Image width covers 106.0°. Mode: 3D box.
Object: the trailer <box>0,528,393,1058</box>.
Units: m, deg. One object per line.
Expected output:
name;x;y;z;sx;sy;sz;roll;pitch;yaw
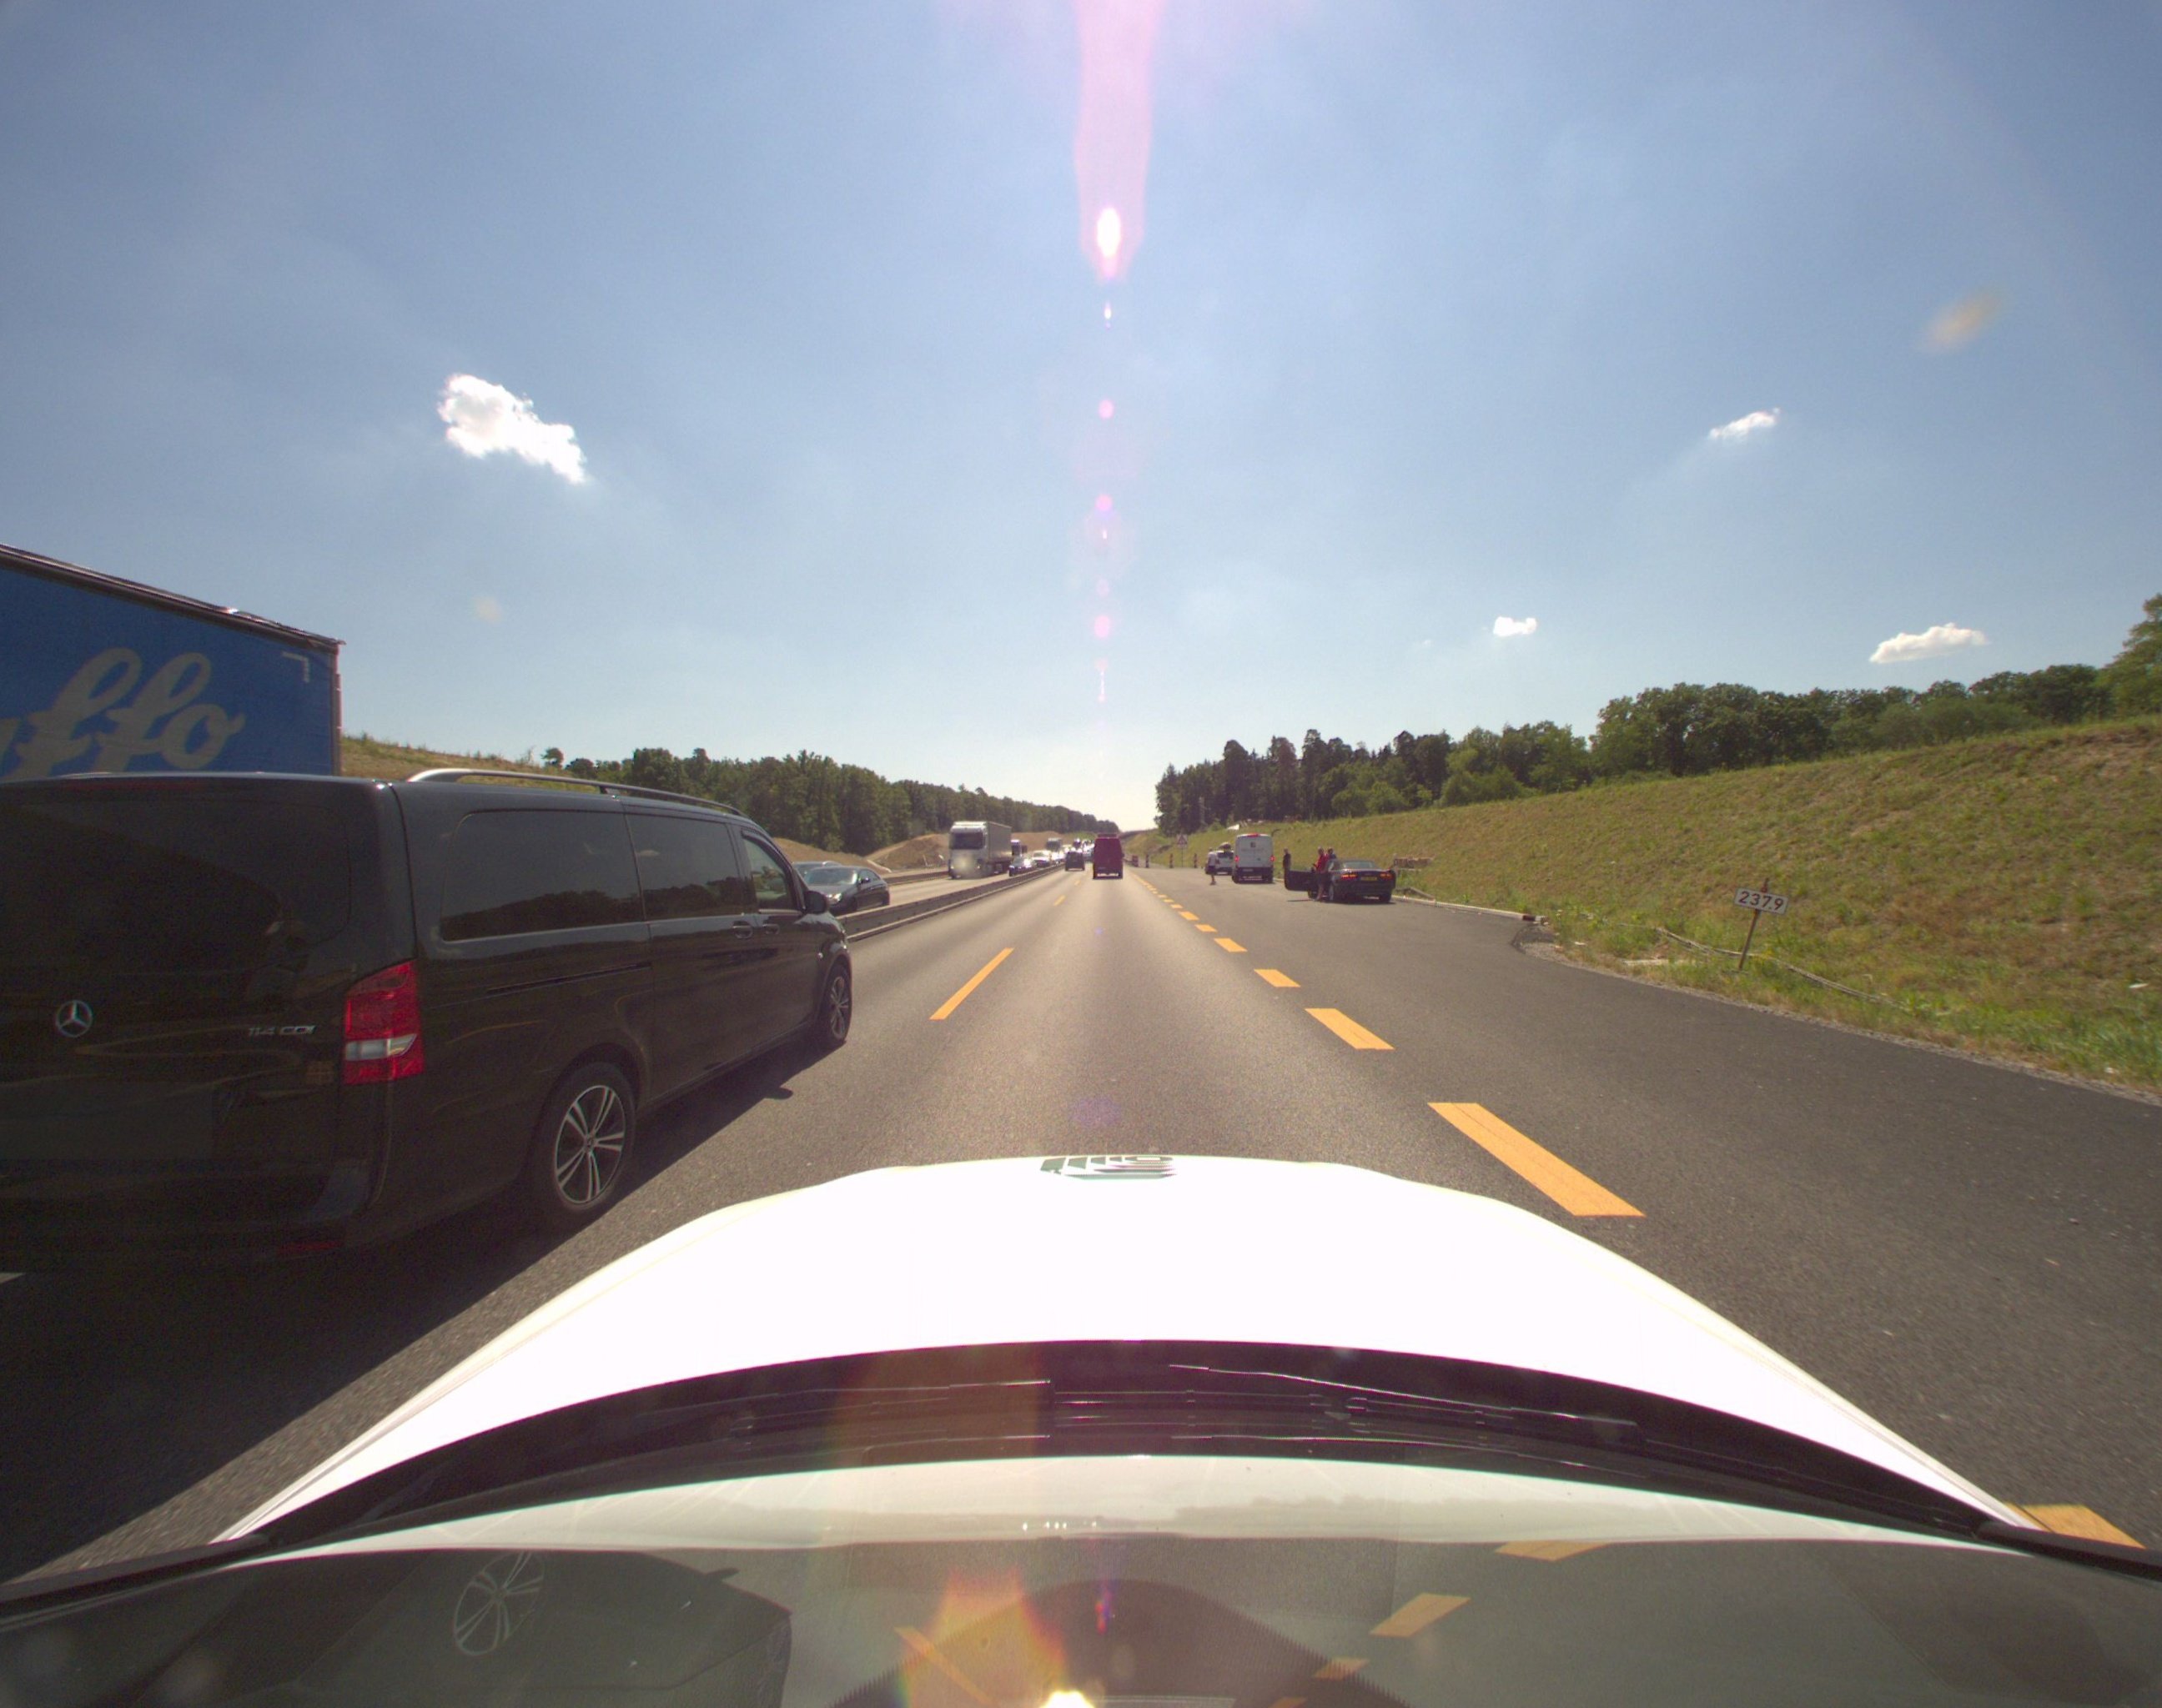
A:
trailer;-9.474;-0.467;2.391;2.643;3.938;14.001;0;0;2

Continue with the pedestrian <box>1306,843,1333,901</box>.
pedestrian;7.731;0.573;26.437;0.642;1.828;0.555;0;0;-19

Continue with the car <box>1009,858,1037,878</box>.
car;-4.318;1.062;61.483;1.720;1.387;4.484;0;-1;1

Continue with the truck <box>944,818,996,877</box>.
truck;-7.837;-0.384;58.044;2.758;4.044;4.946;0;-1;2

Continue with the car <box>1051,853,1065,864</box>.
car;-3.287;0.708;117.004;1.618;1.557;4.072;0;-1;3

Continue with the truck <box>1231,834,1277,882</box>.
truck;9.416;0.178;44.774;2.117;2.457;5.940;0;0;9

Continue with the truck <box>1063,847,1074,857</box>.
truck;-3.273;-0.454;209.628;2.390;2.358;5.230;0;-1;2

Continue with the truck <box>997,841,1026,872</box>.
truck;-7.080;0.311;83.639;2.389;3.059;5.065;0;-1;2

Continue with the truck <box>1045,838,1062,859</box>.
truck;-5.114;-0.967;154.789;2.499;3.617;9.646;0;-1;3

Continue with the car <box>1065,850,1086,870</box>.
car;-0.489;0.536;76.799;1.745;1.824;4.784;0;0;2

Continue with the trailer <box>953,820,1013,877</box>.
trailer;-7.604;-0.406;65.466;2.780;4.075;13.715;0;0;2

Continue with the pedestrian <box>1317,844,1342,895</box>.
pedestrian;9.099;0.554;29.834;0.624;1.828;0.640;0;0;-10

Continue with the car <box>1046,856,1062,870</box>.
car;-3.250;1.136;99.019;1.719;1.630;4.391;0;-1;1

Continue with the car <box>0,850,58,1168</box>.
car;-6.215;0.794;2.126;1.769;1.555;4.139;-3;0;1

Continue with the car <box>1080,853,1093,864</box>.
car;0.825;0.643;118.567;1.824;1.522;3.962;0;-1;2

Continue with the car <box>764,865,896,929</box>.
car;-6.097;0.994;20.441;1.723;1.387;4.861;0;-1;1

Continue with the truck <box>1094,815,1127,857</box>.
truck;4.328;-2.413;119.894;4.383;5.496;16.609;0;-1;2

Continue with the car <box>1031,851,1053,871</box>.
car;-3.945;0.740;83.018;1.819;1.927;5.264;0;-1;1

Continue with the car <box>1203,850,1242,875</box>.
car;10.093;0.540;58.358;1.770;1.677;4.852;0;1;-2

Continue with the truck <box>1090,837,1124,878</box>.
truck;1.726;0.262;54.268;2.145;2.590;5.334;0;-1;1

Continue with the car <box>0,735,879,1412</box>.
car;-2.945;0.618;4.987;1.867;1.851;5.481;0;0;2

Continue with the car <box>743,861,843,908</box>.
car;-9.430;0.973;27.024;1.625;1.424;4.502;0;-1;1

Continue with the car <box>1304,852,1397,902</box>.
car;8.720;0.689;26.769;1.647;1.426;4.547;-3;0;2

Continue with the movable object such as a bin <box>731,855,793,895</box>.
movable object such as a bin;-27.430;1.709;70.387;2.160;3.109;7.169;-3;0;3

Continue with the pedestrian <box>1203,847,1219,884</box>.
pedestrian;6.608;0.590;41.353;0.721;1.828;0.720;0;-1;1

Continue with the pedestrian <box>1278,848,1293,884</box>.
pedestrian;10.271;0.607;40.937;0.561;1.795;0.667;0;-1;0
